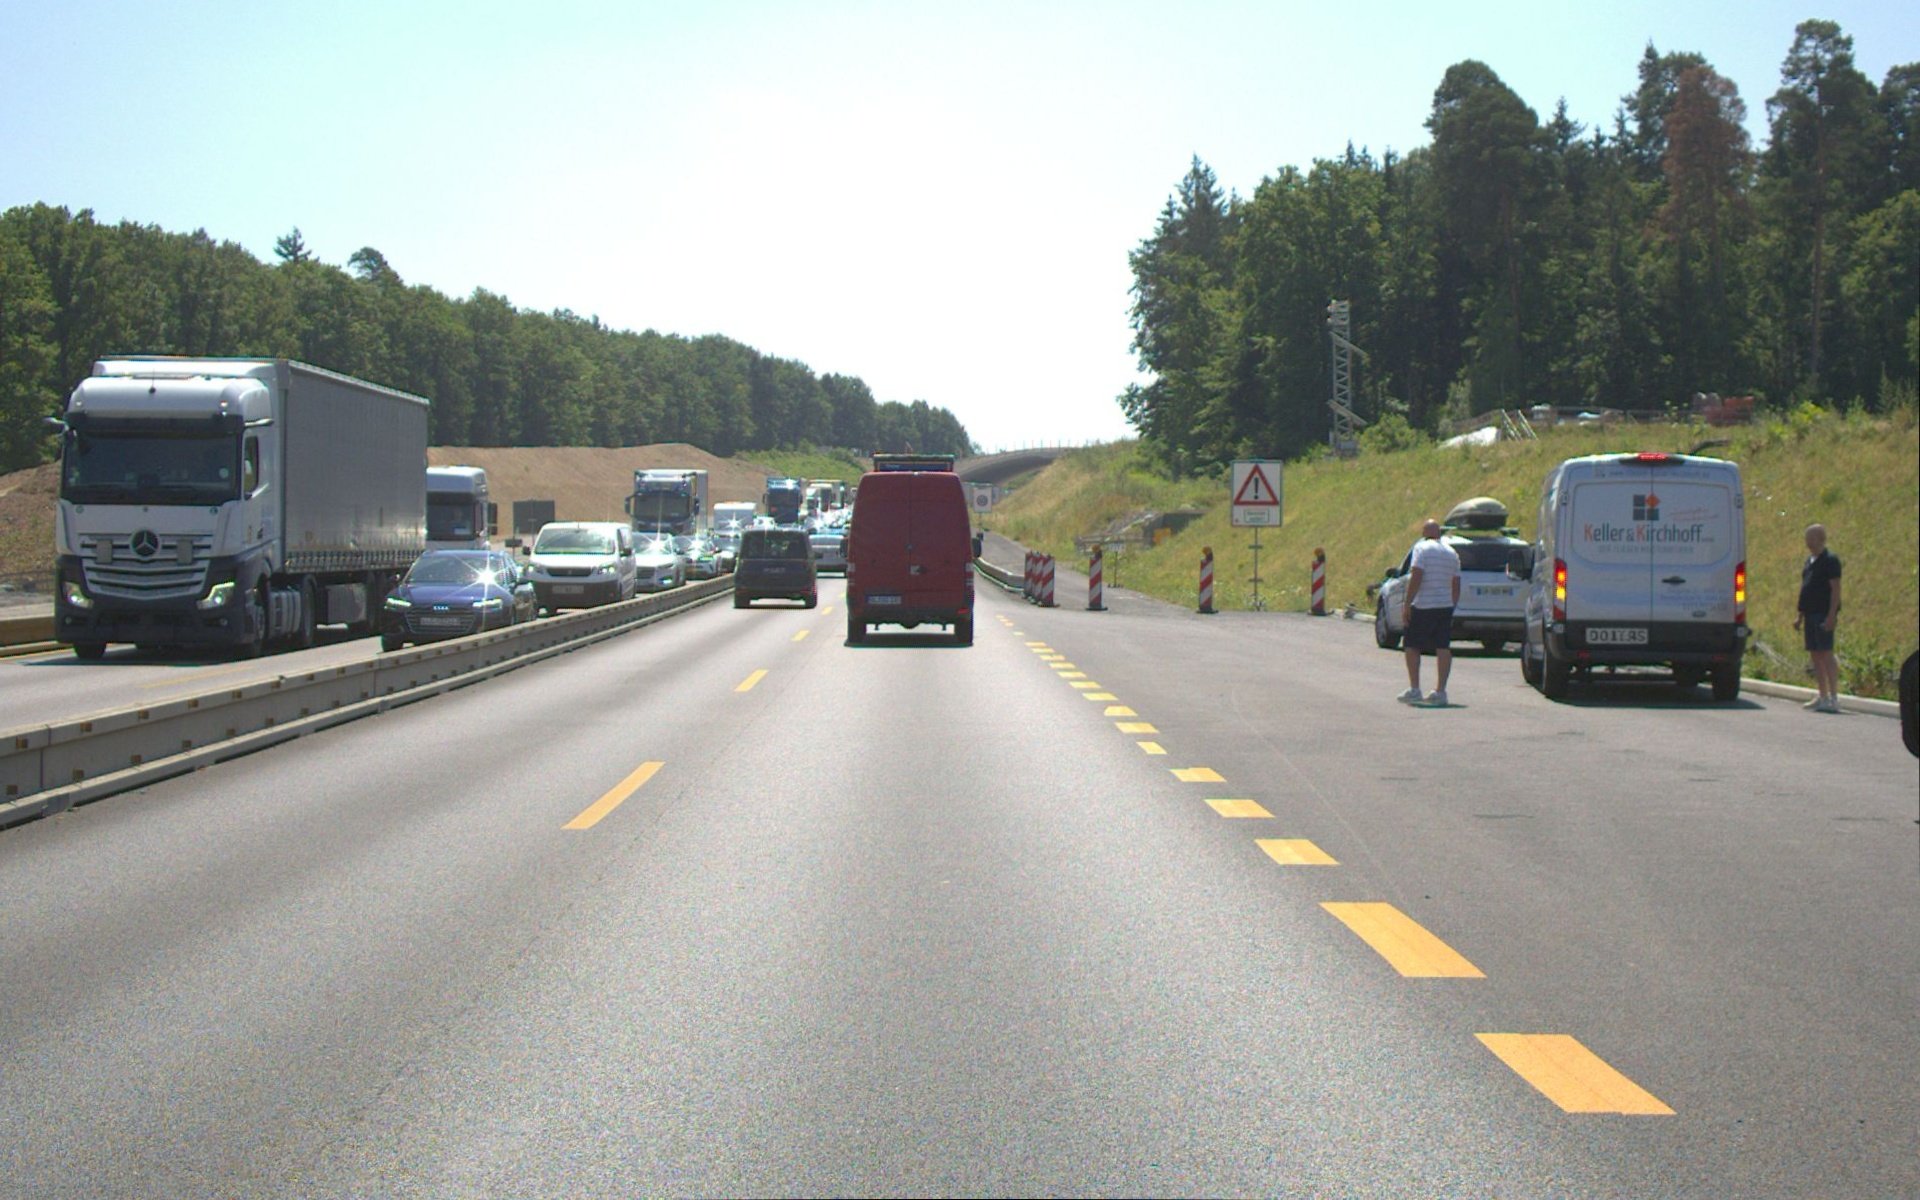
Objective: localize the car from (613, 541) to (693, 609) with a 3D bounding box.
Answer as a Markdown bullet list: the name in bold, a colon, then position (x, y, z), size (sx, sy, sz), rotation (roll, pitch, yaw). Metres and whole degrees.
- **car**: position (-7.698, -0.617, 86.365), size (1.724, 1.625, 4.391), rotation (1, 0, -2)

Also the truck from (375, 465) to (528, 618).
- **truck**: position (-10.590, -1.181, 72.021), size (2.398, 3.048, 5.062), rotation (1, 0, 0)

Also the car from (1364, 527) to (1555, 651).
- **car**: position (7.407, -0.202, 51.409), size (1.774, 1.671, 4.856), rotation (1, 2, -4)

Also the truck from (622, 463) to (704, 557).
- **truck**: position (-12.241, -3.657, 142.456), size (2.509, 3.605, 9.641), rotation (1, 0, 0)

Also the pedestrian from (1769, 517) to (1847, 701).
- **pedestrian**: position (8.386, 0.087, 34.004), size (0.563, 1.789, 0.667), rotation (1, 0, -2)

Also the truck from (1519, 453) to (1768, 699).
- **truck**: position (7.400, -0.305, 37.786), size (2.130, 2.448, 5.924), rotation (1, 1, 6)

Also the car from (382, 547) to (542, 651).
- **car**: position (-7.061, -0.016, 49.104), size (1.726, 1.382, 4.484), rotation (1, 0, -1)

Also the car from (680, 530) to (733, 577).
- **car**: position (-8.955, -1.635, 121.698), size (1.683, 1.590, 3.224), rotation (1, 0, -1)

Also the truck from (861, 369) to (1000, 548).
- **truck**: position (-1.048, -4.687, 119.124), size (4.400, 5.477, 16.603), rotation (1, 0, -1)

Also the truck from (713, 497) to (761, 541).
- **truck**: position (-12.795, -4.645, 197.746), size (2.400, 2.350, 5.227), rotation (1, 0, 0)

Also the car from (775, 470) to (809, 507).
- **car**: position (-12.478, -8.270, 255.423), size (2.385, 2.571, 4.000), rotation (1, 0, -2)

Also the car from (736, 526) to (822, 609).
- **car**: position (-4.138, -0.773, 79.033), size (1.751, 1.818, 4.783), rotation (1, 1, -1)

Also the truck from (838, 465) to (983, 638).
- **truck**: position (-0.815, -0.741, 54.591), size (2.153, 2.581, 5.333), rotation (1, 0, -1)

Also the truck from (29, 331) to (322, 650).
- **truck**: position (-10.479, -1.404, 46.398), size (2.768, 4.030, 4.943), rotation (1, 0, 0)

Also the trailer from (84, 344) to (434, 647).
- **trailer**: position (-10.553, -1.550, 53.449), size (2.790, 4.061, 13.712), rotation (1, 1, -1)

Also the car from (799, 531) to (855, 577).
- **car**: position (-4.626, -1.602, 120.264), size (1.831, 1.517, 3.961), rotation (1, 0, -1)

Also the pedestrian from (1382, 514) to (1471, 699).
- **pedestrian**: position (4.665, 0.067, 34.394), size (0.723, 1.822, 0.720), rotation (1, 0, -4)

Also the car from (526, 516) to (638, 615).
- **car**: position (-7.701, -0.681, 70.446), size (1.825, 1.920, 5.264), rotation (1, 0, -1)

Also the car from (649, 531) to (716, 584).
- **car**: position (-8.425, -1.286, 104.720), size (1.625, 1.552, 4.068), rotation (1, 0, 1)
